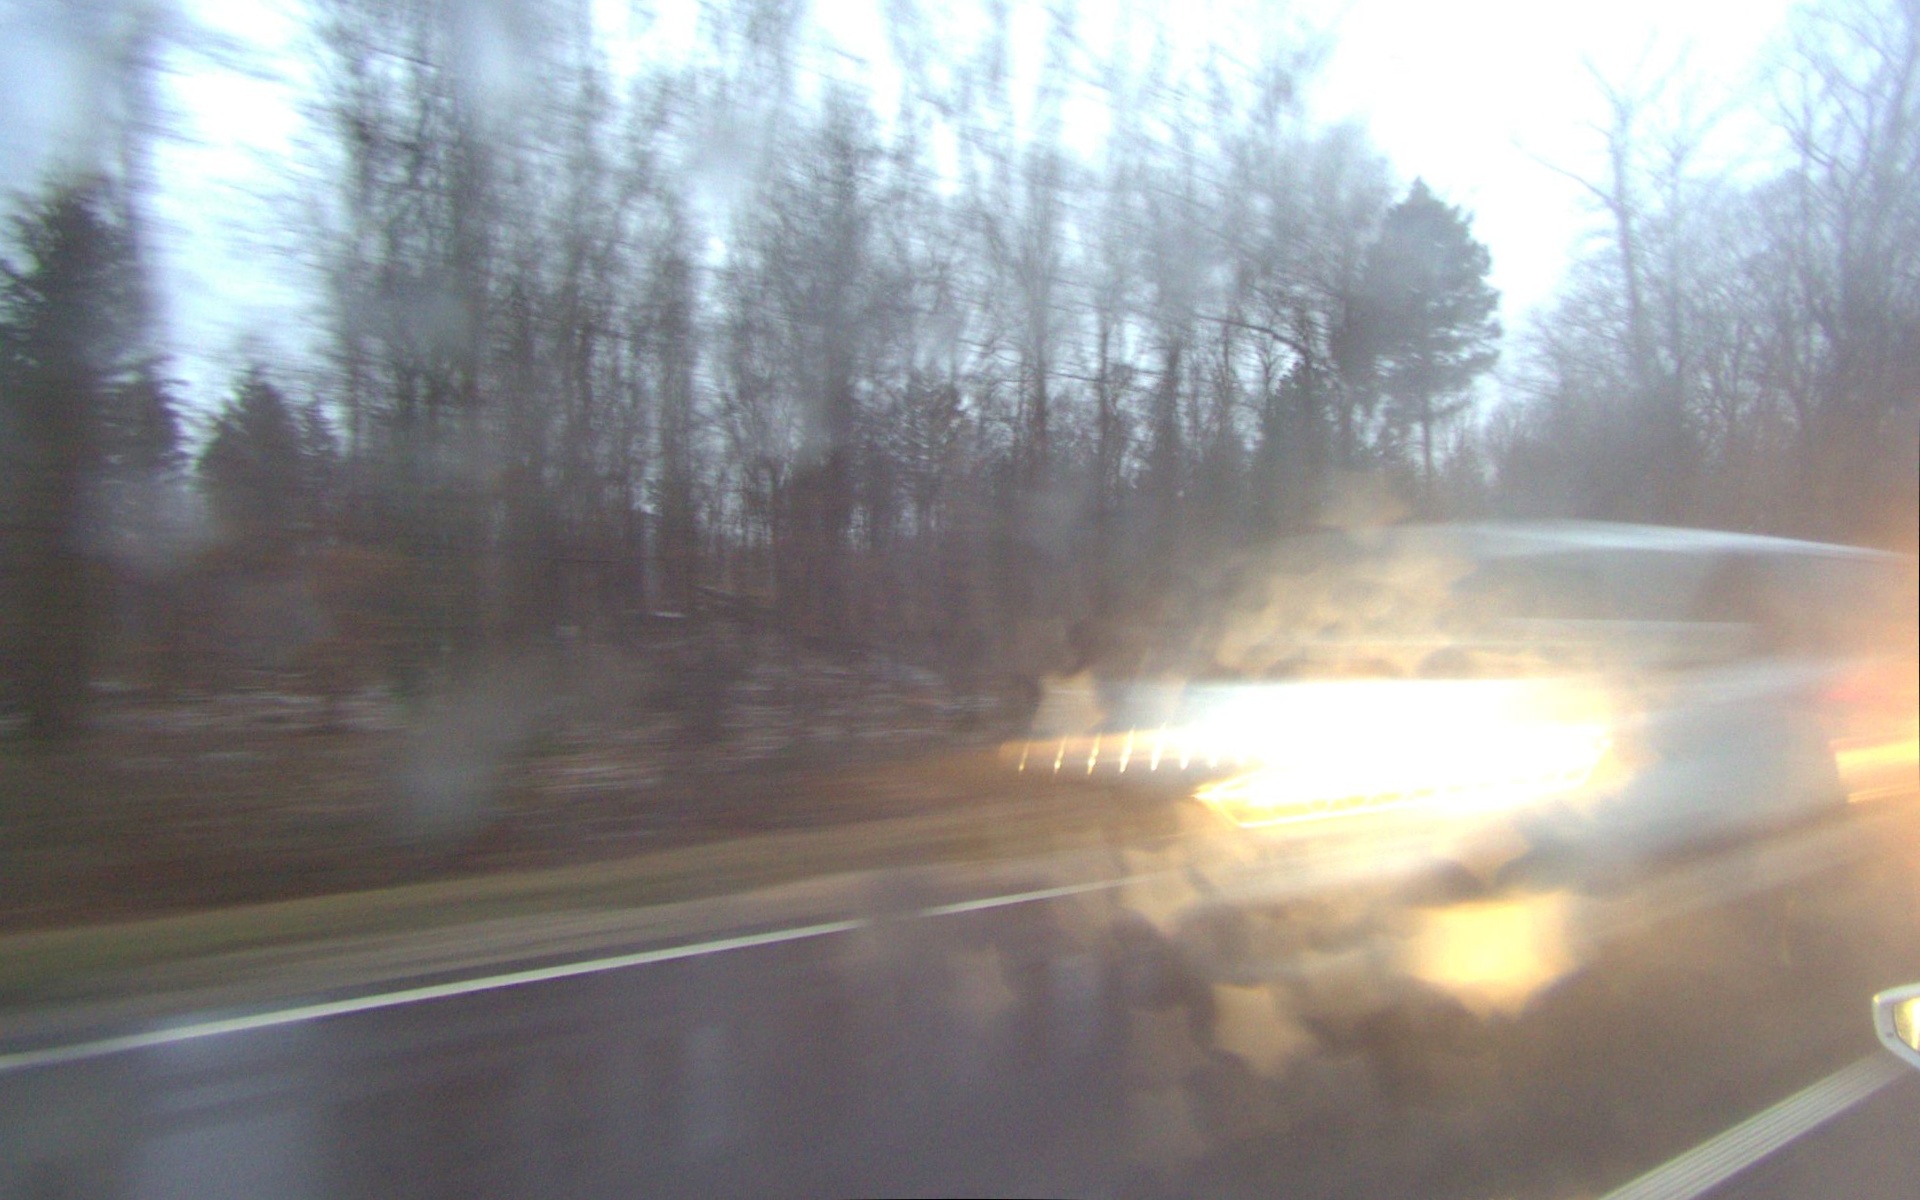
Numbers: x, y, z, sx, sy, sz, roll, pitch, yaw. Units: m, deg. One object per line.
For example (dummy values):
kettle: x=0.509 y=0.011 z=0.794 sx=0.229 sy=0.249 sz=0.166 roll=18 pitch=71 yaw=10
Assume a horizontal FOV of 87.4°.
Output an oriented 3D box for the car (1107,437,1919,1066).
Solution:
car: x=3.356 y=0.568 z=5.395 sx=4.974 sy=2.015 sz=1.997 roll=1 pitch=-3 yaw=-31
